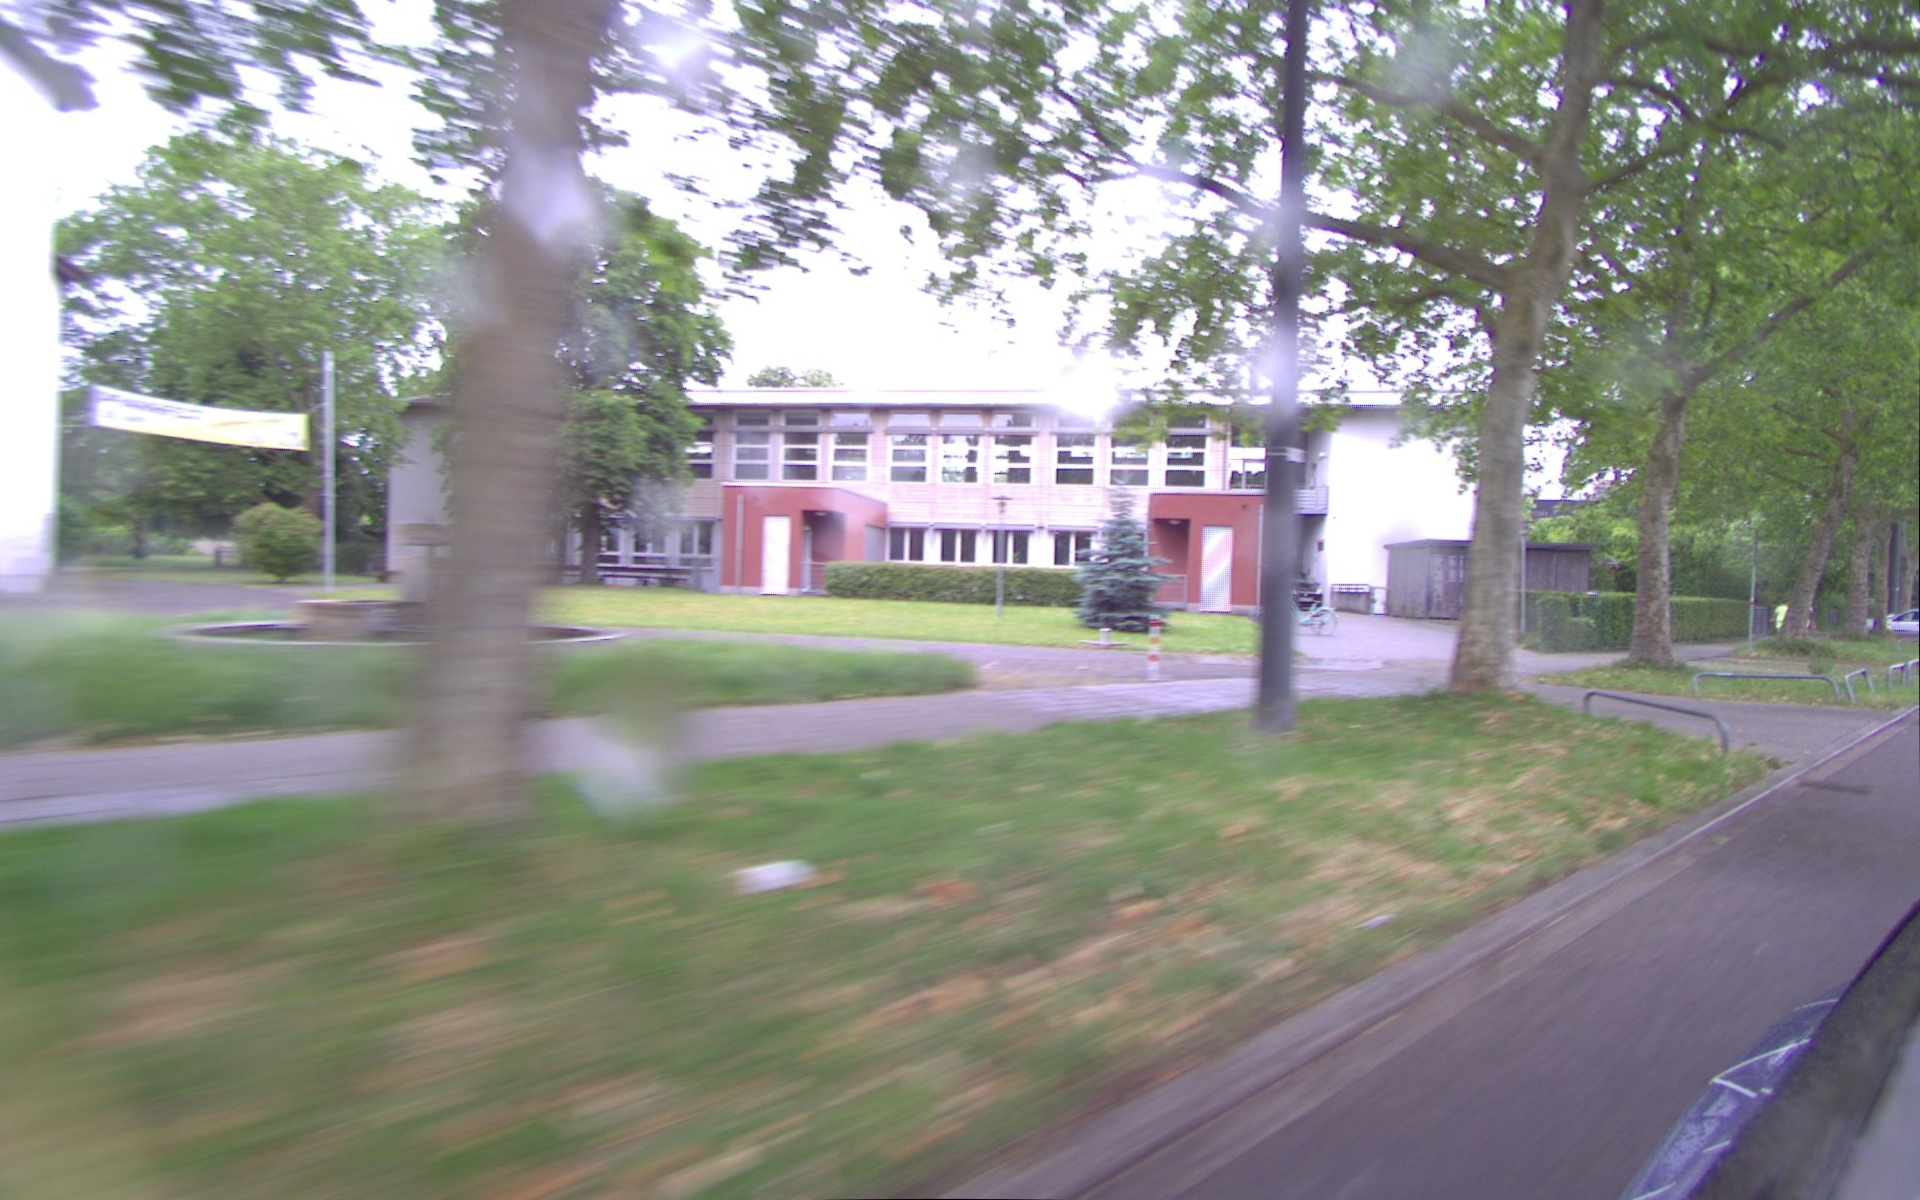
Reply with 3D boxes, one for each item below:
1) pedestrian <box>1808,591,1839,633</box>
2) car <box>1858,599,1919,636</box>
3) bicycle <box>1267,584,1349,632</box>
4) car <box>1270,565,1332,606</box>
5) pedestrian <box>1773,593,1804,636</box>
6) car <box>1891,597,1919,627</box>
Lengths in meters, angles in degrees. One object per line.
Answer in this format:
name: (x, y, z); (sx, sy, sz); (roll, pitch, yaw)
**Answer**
pedestrian: (32.682, 0.444, 38.308); (0.742, 1.557, 0.579); (3, 1, 31)
car: (42.167, 0.831, 44.266); (3.983, 1.505, 1.622); (3, 2, 30)
bicycle: (9.192, 0.199, 26.766); (1.902, 1.135, 0.521); (3, 3, 2)
car: (12.987, -0.566, 38.695); (1.722, 1.469, 3.572); (1, 1, 11)
pedestrian: (30.742, 0.527, 37.539); (0.575, 1.557, 0.747); (1, 2, -42)
car: (50.510, 0.704, 51.704); (3.983, 1.505, 1.622); (3, 2, 30)
